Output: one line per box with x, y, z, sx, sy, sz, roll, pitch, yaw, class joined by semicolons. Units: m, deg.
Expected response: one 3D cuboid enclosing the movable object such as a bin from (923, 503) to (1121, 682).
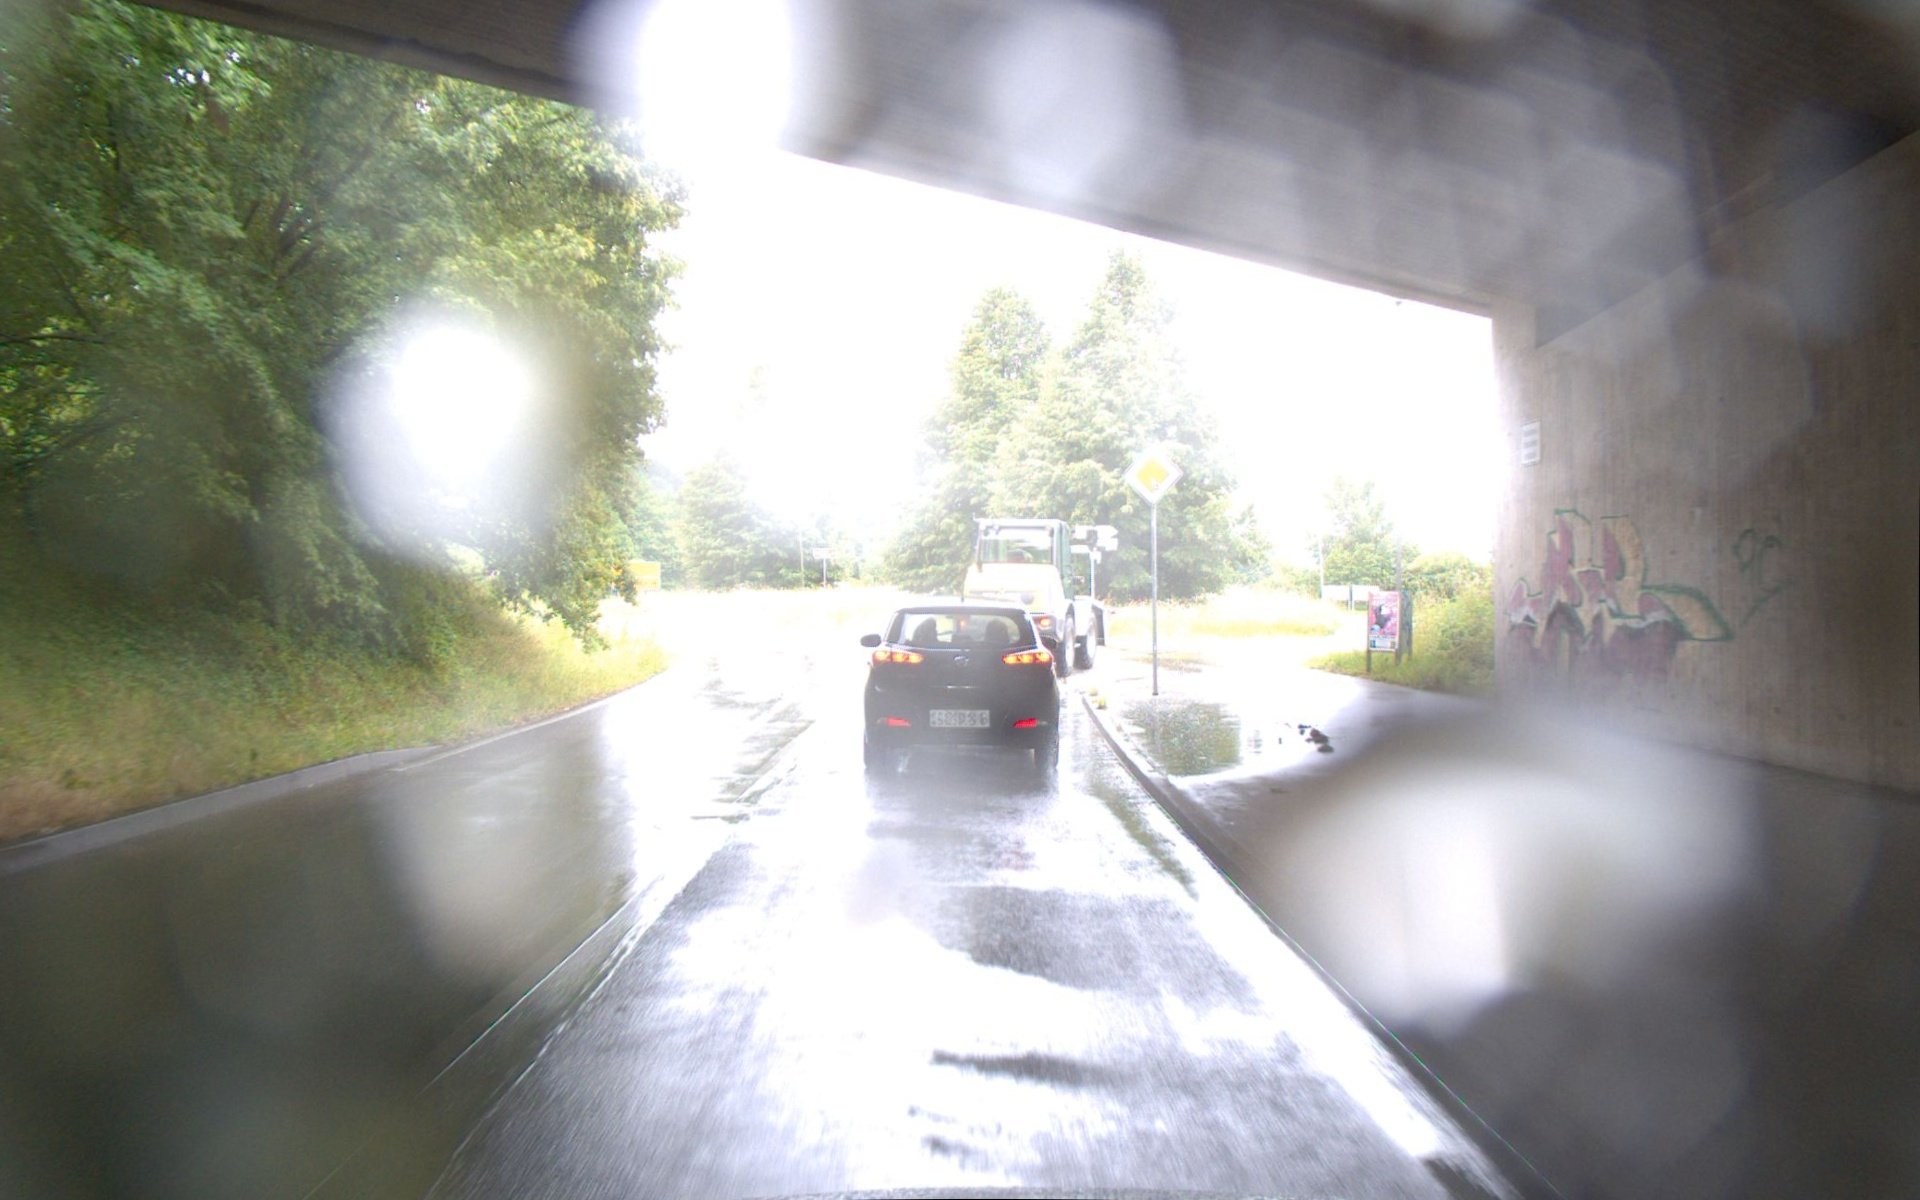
1.252;-0.121;28.731;2.198;2.716;6.632;1;0;13;movable object such as a bin

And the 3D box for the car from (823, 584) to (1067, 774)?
-0.266;0.639;15.432;1.954;1.513;3.996;1;0;-4;car
